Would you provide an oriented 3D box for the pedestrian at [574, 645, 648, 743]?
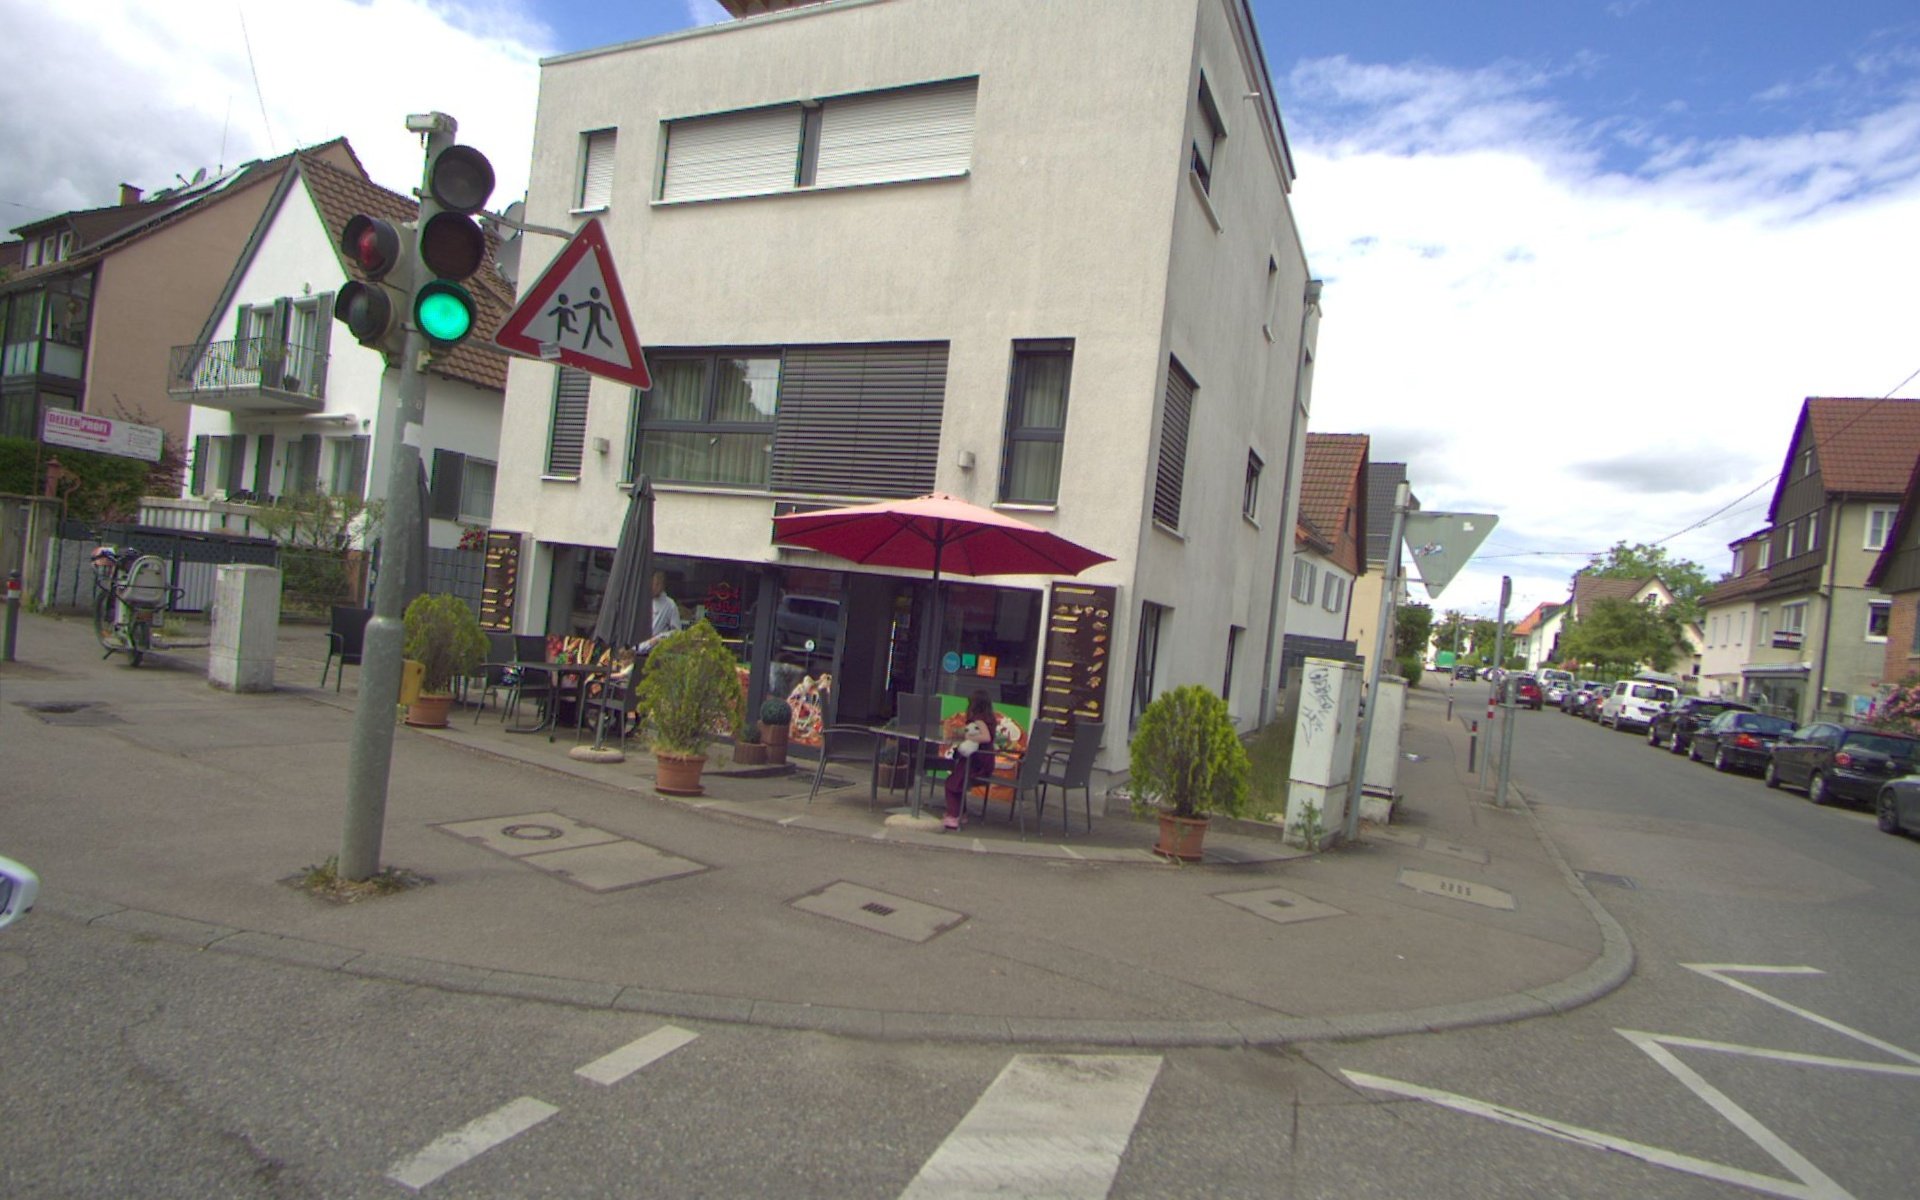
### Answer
[{"bbox_3d":[-3.650,0.973,10.540,0.488,0.949,0.420,7,0,12],"label":"pedestrian"}]

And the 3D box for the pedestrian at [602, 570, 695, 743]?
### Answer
[{"bbox_3d":[-3.411,0.614,11.048,0.663,1.783,0.429,7,0,12],"label":"pedestrian"}]

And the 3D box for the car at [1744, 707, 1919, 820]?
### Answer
[{"bbox_3d":[16.383,2.953,18.663,1.756,1.526,4.122,6,0,23],"label":"car"}]

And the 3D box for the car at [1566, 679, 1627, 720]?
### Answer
[{"bbox_3d":[28.157,4.388,44.582,1.713,1.490,3.711,6,-2,26],"label":"car"}]

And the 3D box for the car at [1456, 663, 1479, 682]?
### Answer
[{"bbox_3d":[48.663,6.967,96.531,1.728,1.536,3.711,6,-2,26],"label":"car"}]

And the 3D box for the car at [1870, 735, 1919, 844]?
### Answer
[{"bbox_3d":[13.640,2.668,12.828,1.757,1.376,4.363,6,-1,26],"label":"car"}]

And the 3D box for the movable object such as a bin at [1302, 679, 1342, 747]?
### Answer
[{"bbox_3d":[6.524,2.029,18.122,0.518,1.142,0.527,6,-1,25],"label":"movable object such as a bin"}]

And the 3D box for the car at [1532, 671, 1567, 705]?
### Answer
[{"bbox_3d":[34.352,5.138,58.657,1.338,1.752,3.060,6,-1,26],"label":"car"}]

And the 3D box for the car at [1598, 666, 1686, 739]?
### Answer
[{"bbox_3d":[24.594,3.673,36.435,1.863,2.250,4.123,6,-1,26],"label":"car"}]

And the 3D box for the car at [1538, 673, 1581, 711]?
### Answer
[{"bbox_3d":[32.654,5.002,54.840,1.495,1.855,3.711,6,-2,26],"label":"car"}]

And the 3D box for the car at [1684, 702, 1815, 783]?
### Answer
[{"bbox_3d":[17.992,3.191,23.103,1.483,1.463,4.035,6,-2,28],"label":"car"}]

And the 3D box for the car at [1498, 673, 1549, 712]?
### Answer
[{"bbox_3d":[26.100,4.288,46.683,1.672,1.502,4.123,6,-2,26],"label":"car"}]

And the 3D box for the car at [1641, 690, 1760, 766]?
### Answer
[{"bbox_3d":[20.285,3.436,27.750,1.597,1.701,4.125,6,-2,24],"label":"car"}]

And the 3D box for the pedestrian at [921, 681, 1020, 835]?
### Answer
[{"bbox_3d":[0.098,1.253,8.137,0.622,1.102,0.568,7,-1,7],"label":"pedestrian"}]

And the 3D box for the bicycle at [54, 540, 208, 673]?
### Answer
[{"bbox_3d":[-8.816,0.044,10.663,2.180,1.164,0.720,6,-1,38],"label":"bicycle"}]

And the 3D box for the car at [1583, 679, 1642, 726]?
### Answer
[{"bbox_3d":[26.404,4.120,40.775,1.483,1.628,3.151,6,-2,26],"label":"car"}]
